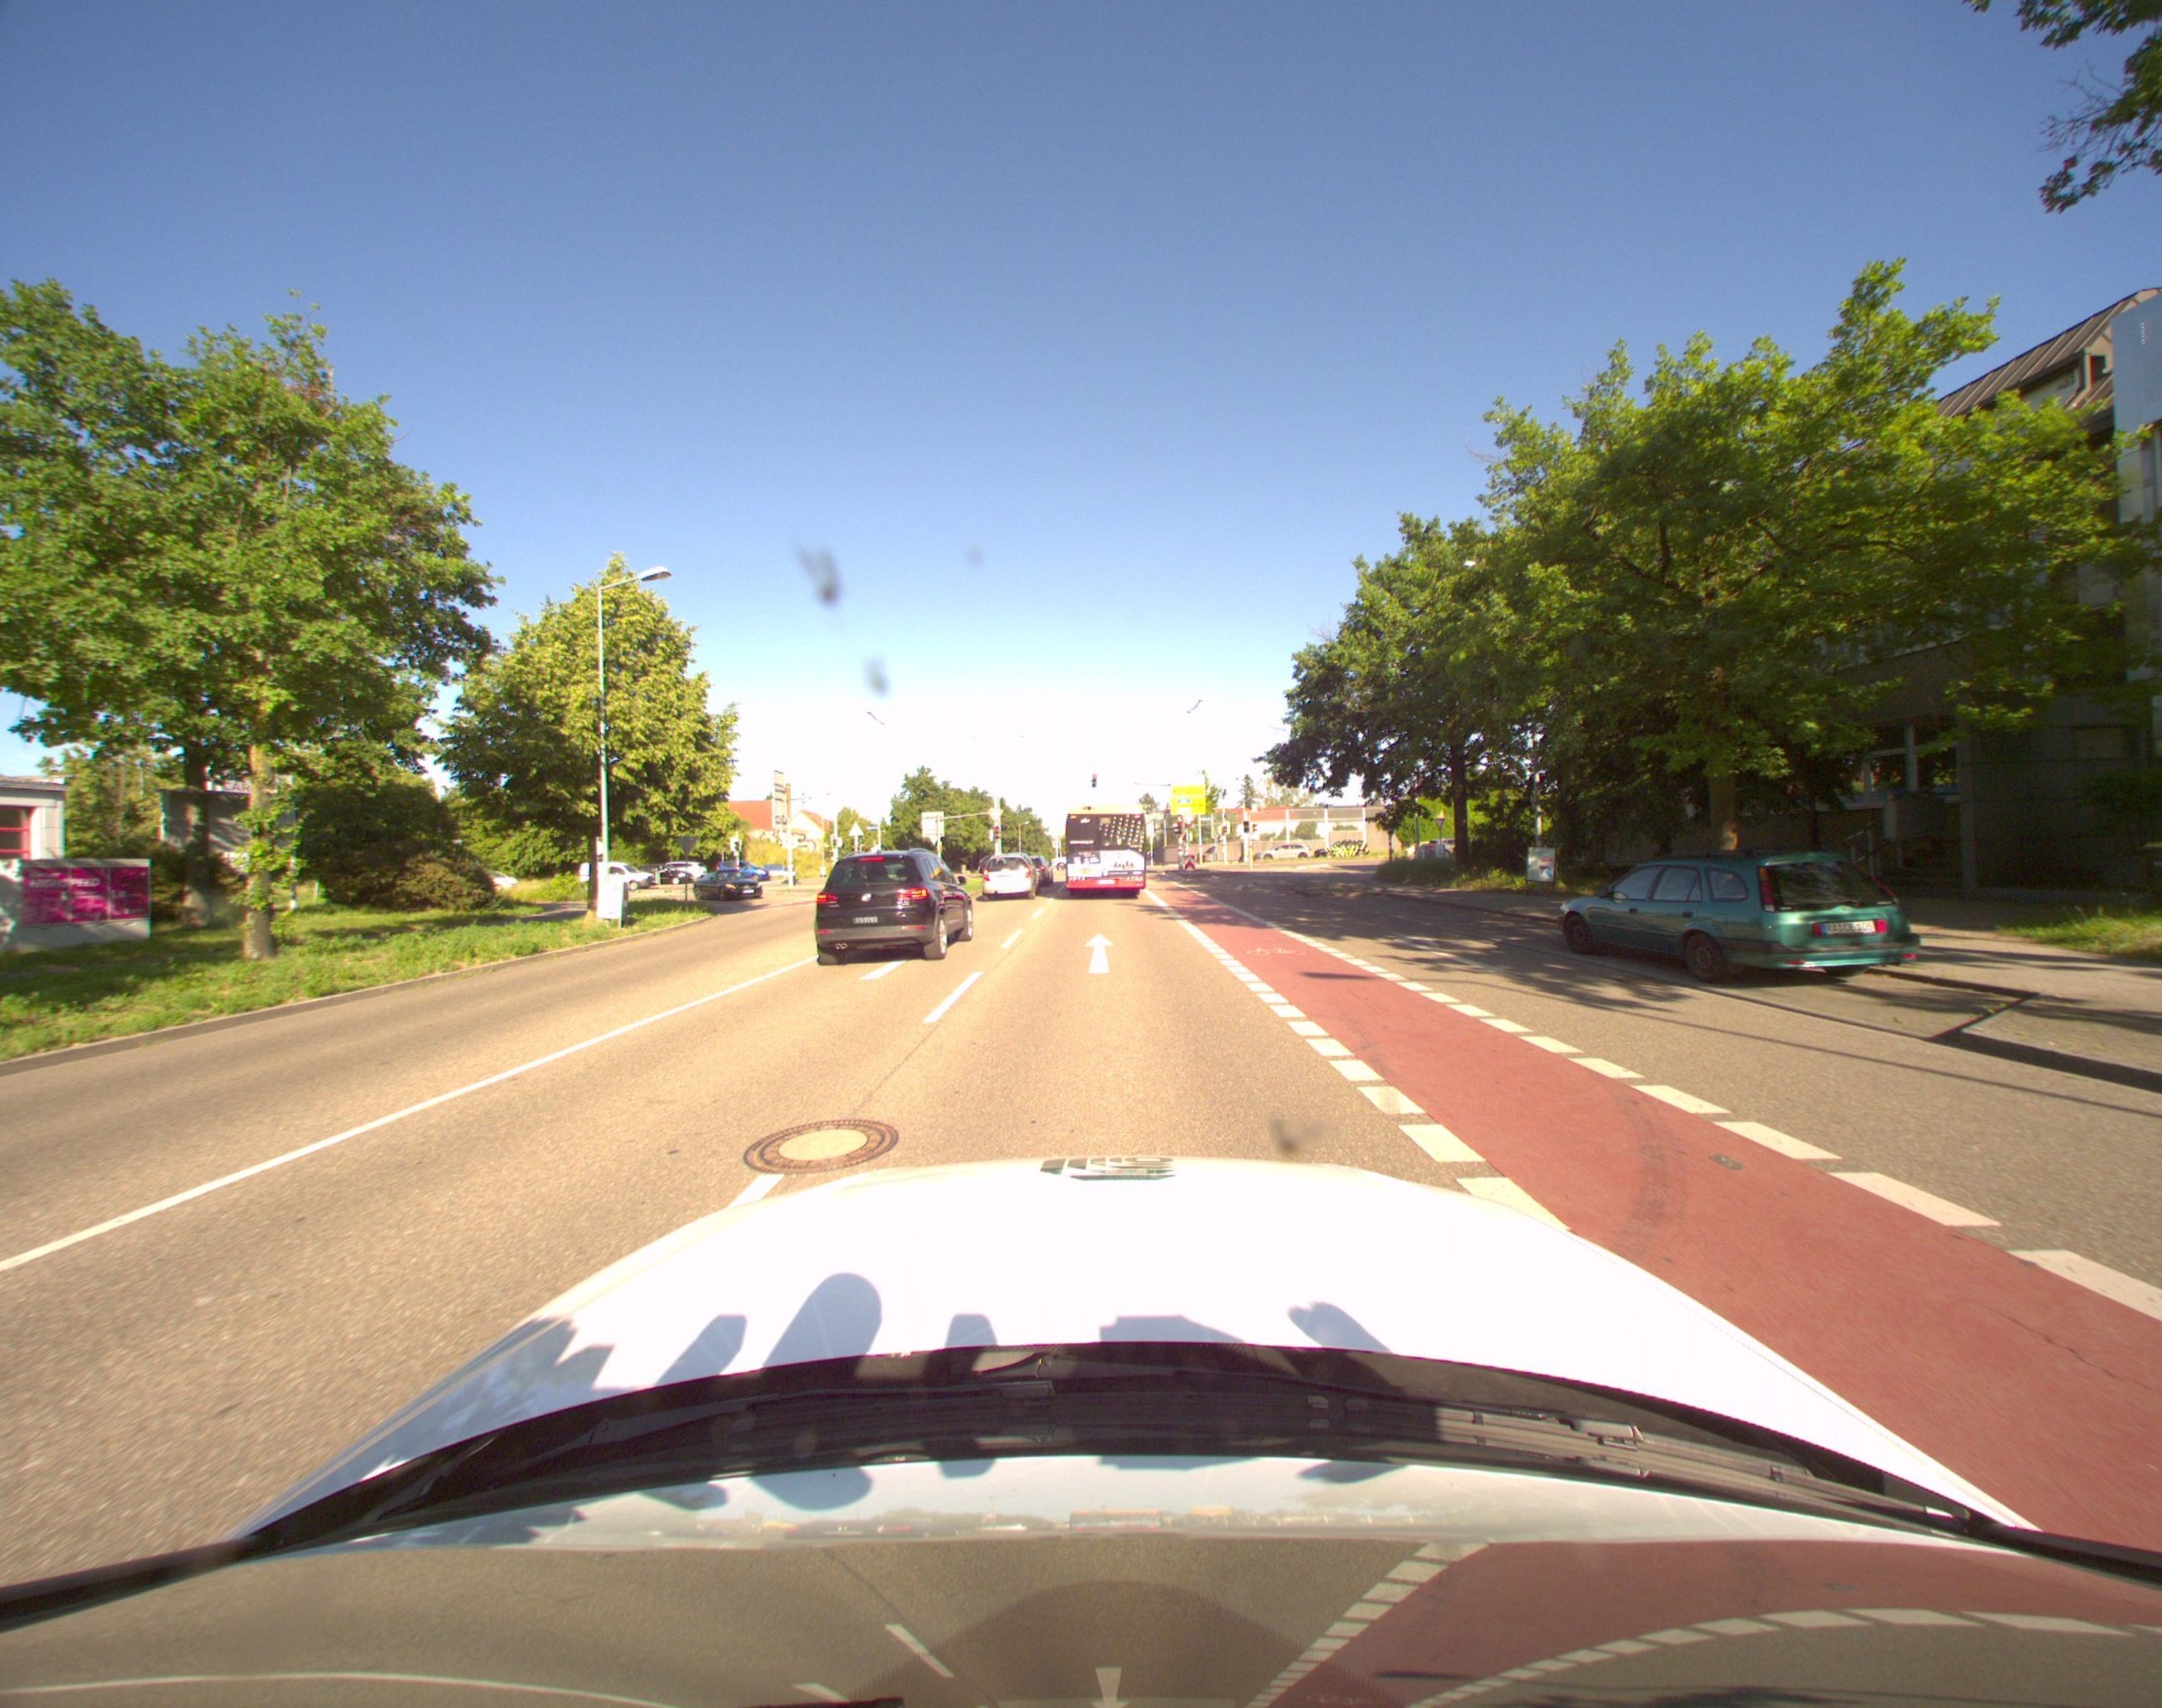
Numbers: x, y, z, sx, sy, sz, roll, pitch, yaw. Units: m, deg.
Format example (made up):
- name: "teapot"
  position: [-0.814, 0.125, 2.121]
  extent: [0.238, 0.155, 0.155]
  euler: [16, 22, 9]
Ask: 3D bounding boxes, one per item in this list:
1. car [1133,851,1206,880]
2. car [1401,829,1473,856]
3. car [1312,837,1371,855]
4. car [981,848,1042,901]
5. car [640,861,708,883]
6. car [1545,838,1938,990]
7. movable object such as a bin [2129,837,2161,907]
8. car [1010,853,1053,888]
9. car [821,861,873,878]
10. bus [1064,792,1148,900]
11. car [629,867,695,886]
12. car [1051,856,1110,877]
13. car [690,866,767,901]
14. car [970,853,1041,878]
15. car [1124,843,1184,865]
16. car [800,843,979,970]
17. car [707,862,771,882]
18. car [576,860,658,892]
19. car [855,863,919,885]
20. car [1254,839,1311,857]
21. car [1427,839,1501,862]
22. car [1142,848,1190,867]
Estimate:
- name: "car"
  position: [4.445, 0.565, 40.878]
  extent: [3.500, 1.302, 1.579]
  euler: [-1, 1, 10]
- name: "car"
  position: [18.389, -0.577, 42.073]
  extent: [3.412, 1.296, 1.449]
  euler: [0, -1, -24]
- name: "car"
  position: [20.569, -0.638, 64.351]
  extent: [4.148, 1.302, 1.574]
  euler: [-1, -1, -2]
- name: "car"
  position: [-2.388, 0.655, 28.859]
  extent: [1.748, 1.620, 4.034]
  euler: [-2, 1, 1]
- name: "car"
  position: [-31.335, 1.378, 62.791]
  extent: [4.387, 1.683, 1.705]
  euler: [0, -1, -12]
- name: "car"
  position: [7.766, 0.609, 10.208]
  extent: [1.586, 1.428, 4.206]
  euler: [-3, 0, 3]
- name: "movable object such as a bin"
  position: [16.543, 0.263, 12.276]
  extent: [0.709, 1.032, 0.581]
  euler: [-2, 0, 1]
- name: "car"
  position: [-2.235, 0.735, 37.659]
  extent: [1.582, 1.485, 3.684]
  euler: [-2, -1, 2]
- name: "car"
  position: [-19.384, 1.256, 67.600]
  extent: [3.838, 1.340, 1.680]
  euler: [0, -1, -4]
- name: "bus"
  position: [0.984, -0.269, 31.475]
  extent: [2.586, 3.334, 11.988]
  euler: [-1, 0, 2]
- name: "car"
  position: [-29.517, 1.566, 57.467]
  extent: [3.842, 1.313, 1.504]
  euler: [0, -1, -7]
- name: "car"
  position: [-0.072, 1.010, 66.276]
  extent: [4.690, 1.540, 1.998]
  euler: [-1, 0, -2]
- name: "car"
  position: [-16.694, 1.415, 38.498]
  extent: [2.011, 1.403, 4.533]
  euler: [-5, 0, -41]
- name: "car"
  position: [-4.889, 0.727, 52.951]
  extent: [4.452, 1.441, 1.681]
  euler: [-2, 0, -4]
- name: "car"
  position: [5.369, 0.002, 60.098]
  extent: [4.212, 1.562, 1.761]
  euler: [-1, -1, -3]
- name: "car"
  position: [-2.917, 0.759, 13.330]
  extent: [1.814, 1.673, 4.004]
  euler: [-3, -1, 1]
- name: "car"
  position: [-24.374, 1.283, 58.170]
  extent: [3.842, 1.385, 1.678]
  euler: [0, -1, -7]
- name: "car"
  position: [-28.930, 1.355, 50.856]
  extent: [4.106, 1.801, 1.455]
  euler: [-2, -1, -6]
- name: "car"
  position: [-15.430, 1.592, 64.921]
  extent: [4.693, 1.540, 1.997]
  euler: [-1, 0, -5]
- name: "car"
  position: [16.743, -0.500, 67.751]
  extent: [4.402, 1.459, 1.574]
  euler: [-1, -1, -2]
- name: "car"
  position: [25.884, -0.200, 55.087]
  extent: [4.212, 1.480, 1.761]
  euler: [-1, -1, -3]
- name: "car"
  position: [7.636, 0.304, 73.315]
  extent: [3.979, 1.612, 1.693]
  euler: [-2, 0, -4]
